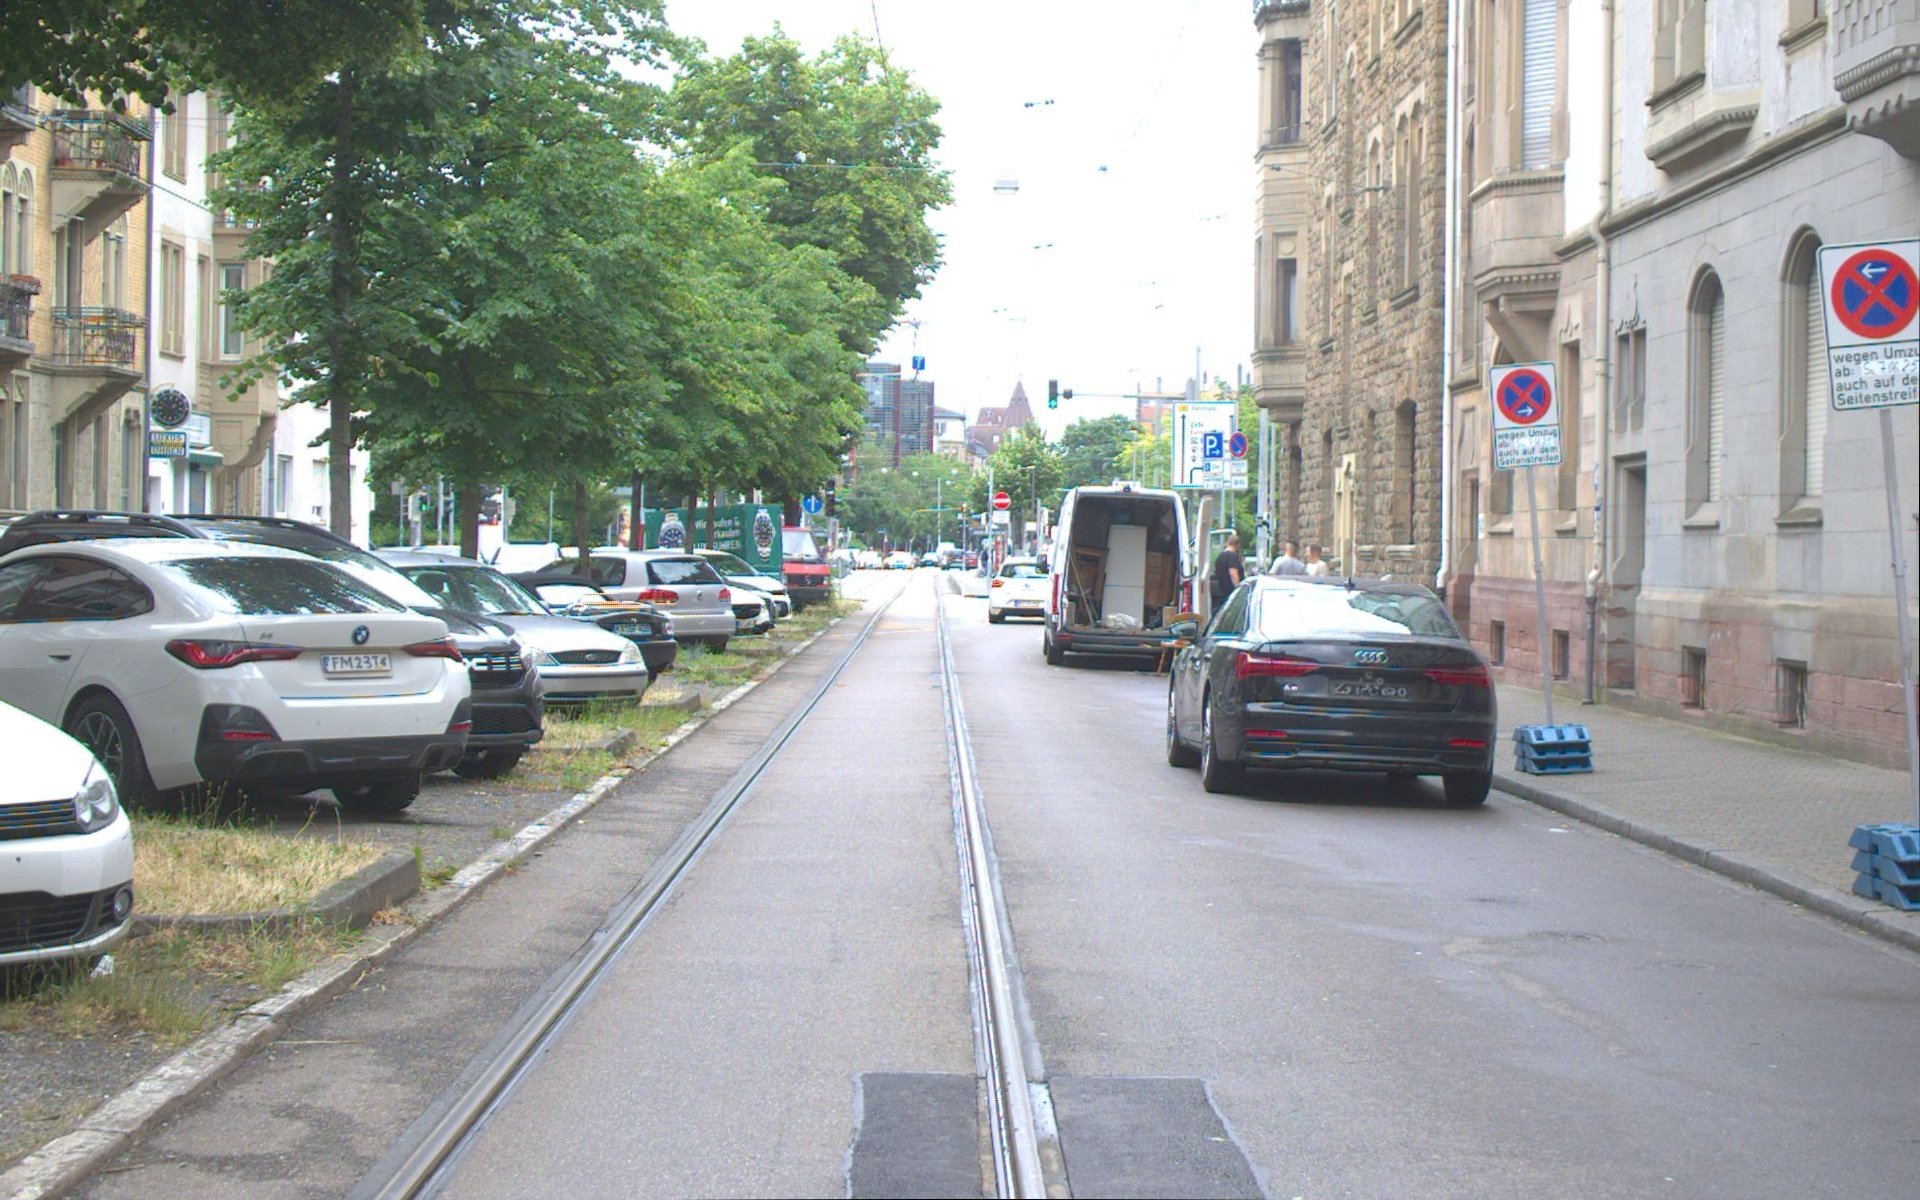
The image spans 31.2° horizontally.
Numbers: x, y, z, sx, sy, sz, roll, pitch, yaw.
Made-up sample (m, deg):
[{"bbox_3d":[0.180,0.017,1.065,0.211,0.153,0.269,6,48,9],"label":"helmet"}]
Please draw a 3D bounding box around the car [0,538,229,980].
[{"bbox_3d":[-4.440,0.406,11.585,4.127,1.307,1.858,3,1,44],"label":"car"}]

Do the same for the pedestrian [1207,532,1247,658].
[{"bbox_3d":[3.882,-0.083,49.982,0.499,1.809,0.803,-1,1,1],"label":"pedestrian"}]

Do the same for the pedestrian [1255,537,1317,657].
[{"bbox_3d":[4.668,-0.047,49.238,0.702,1.694,0.493,-2,1,-28],"label":"pedestrian"}]

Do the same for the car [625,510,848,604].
[{"bbox_3d":[-4.908,-0.954,75.096,4.763,1.967,1.955,2,1,38],"label":"car"}]

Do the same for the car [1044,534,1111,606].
[{"bbox_3d":[3.311,-0.866,97.212,1.782,1.956,4.382,1,1,1],"label":"car"}]

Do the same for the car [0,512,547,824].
[{"bbox_3d":[-4.507,0.289,18.754,4.539,1.485,2.030,2,1,44],"label":"car"}]

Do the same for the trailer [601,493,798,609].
[{"bbox_3d":[-5.480,-1.041,72.184,3.666,2.336,1.927,2,1,33],"label":"trailer"}]

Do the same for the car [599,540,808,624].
[{"bbox_3d":[-4.814,-0.348,64.266,3.860,1.458,1.685,2,1,42],"label":"car"}]

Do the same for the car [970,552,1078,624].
[{"bbox_3d":[1.413,-0.275,74.421,1.783,1.467,4.009,2,1,9],"label":"car"}]

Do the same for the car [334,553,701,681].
[{"bbox_3d":[-4.681,0.151,36.045,3.960,1.198,1.664,2,1,43],"label":"car"}]

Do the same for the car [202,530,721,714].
[{"bbox_3d":[-4.277,0.145,29.024,4.665,1.363,1.753,2,1,42],"label":"car"}]

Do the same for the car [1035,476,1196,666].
[{"bbox_3d":[2.235,-0.454,51.164,2.013,2.540,7.016,3,1,0],"label":"car"}]

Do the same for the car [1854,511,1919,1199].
[{"bbox_3d":[2.846,0.693,4.864,1.759,1.616,4.695,1,1,-2],"label":"car"}]

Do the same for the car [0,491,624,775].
[{"bbox_3d":[-4.305,0.145,21.898,4.530,1.627,1.761,2,1,44],"label":"car"}]

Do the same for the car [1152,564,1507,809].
[{"bbox_3d":[2.439,0.510,23.957,1.801,1.433,5.196,1,1,-1],"label":"car"}]

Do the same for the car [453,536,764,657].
[{"bbox_3d":[-4.760,-0.067,46.278,4.114,1.479,1.793,2,1,41],"label":"car"}]

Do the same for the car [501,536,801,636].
[{"bbox_3d":[-4.884,-0.240,54.003,4.684,1.430,1.894,2,1,39],"label":"car"}]

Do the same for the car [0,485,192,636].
[{"bbox_3d":[-12.115,-0.546,47.580,1.881,1.945,5.094,1,0,-1],"label":"car"}]

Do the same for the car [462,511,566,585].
[{"bbox_3d":[-9.954,-1.156,76.987,1.804,1.574,4.547,1,0,-1],"label":"car"}]

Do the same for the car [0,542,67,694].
[{"bbox_3d":[-12.181,0.187,40.977,1.813,1.775,5.118,1,0,-1],"label":"car"}]

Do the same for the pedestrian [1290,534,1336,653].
[{"bbox_3d":[5.140,-0.096,50.075,0.507,1.711,0.581,-1,1,-10],"label":"pedestrian"}]

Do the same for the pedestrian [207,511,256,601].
[{"bbox_3d":[-14.520,-0.875,68.552,0.797,1.760,0.900,1,1,-1],"label":"pedestrian"}]

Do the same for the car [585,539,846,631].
[{"bbox_3d":[-4.144,-0.269,57.901,4.337,1.430,1.894,2,1,42],"label":"car"}]
